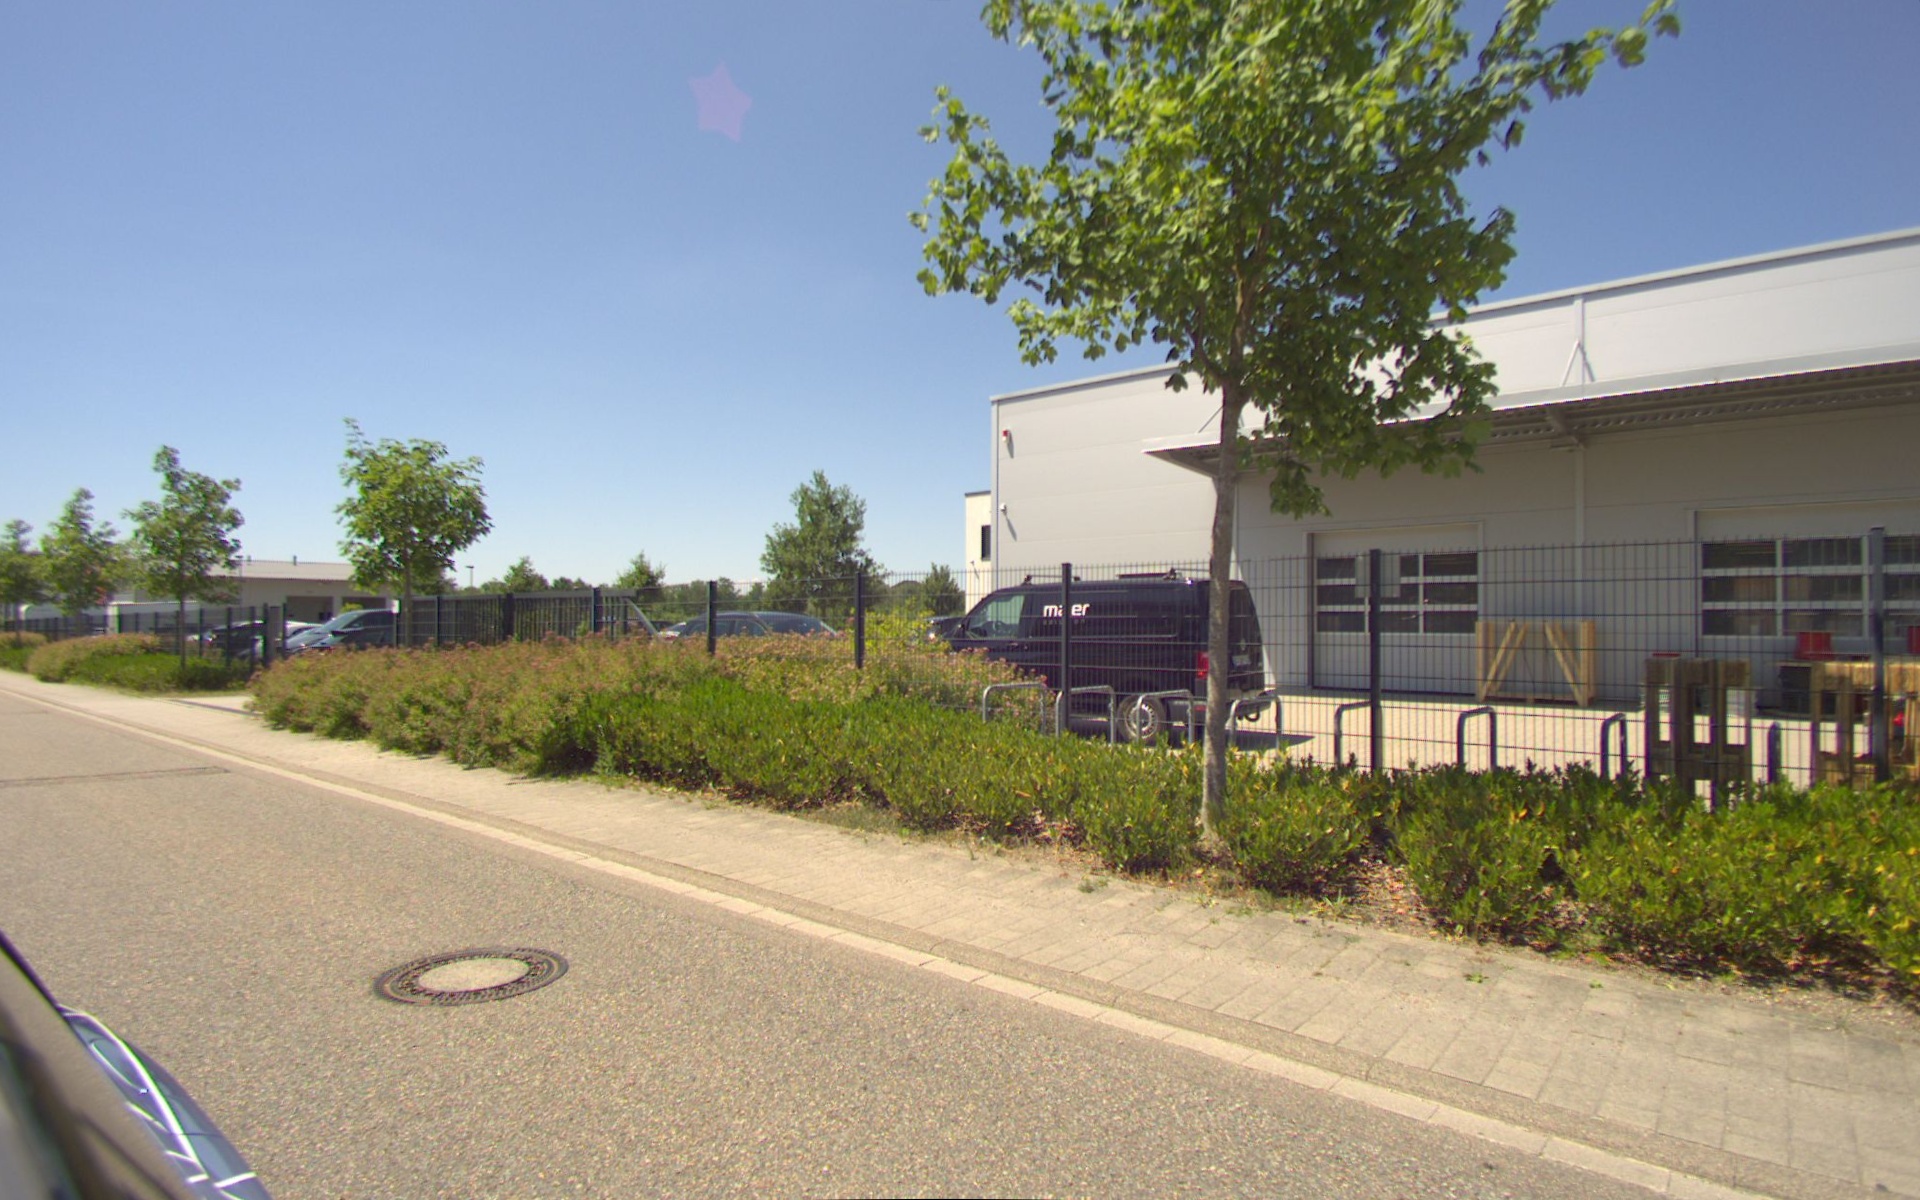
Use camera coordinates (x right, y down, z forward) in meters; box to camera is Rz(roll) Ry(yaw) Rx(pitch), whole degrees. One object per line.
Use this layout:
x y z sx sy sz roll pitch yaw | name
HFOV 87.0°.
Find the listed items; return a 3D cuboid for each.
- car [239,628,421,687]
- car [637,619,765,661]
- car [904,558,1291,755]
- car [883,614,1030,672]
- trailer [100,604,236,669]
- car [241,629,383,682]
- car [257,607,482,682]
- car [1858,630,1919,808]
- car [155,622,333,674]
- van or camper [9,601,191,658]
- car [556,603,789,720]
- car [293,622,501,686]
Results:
-18.364 1.623 29.634 1.903 1.510 4.151 -2 -1 40 | car
-9.041 1.362 35.586 1.879 1.361 4.065 -2 -1 40 | car
1.631 0.636 13.191 4.693 2.114 1.979 -1 0 42 | car
-0.045 1.158 28.556 1.999 1.508 4.048 -2 -2 40 | car
-31.386 1.408 40.211 1.724 2.378 3.950 -1 0 37 | trailer
-20.282 1.690 31.747 1.903 1.510 3.336 -2 -1 40 | car
-16.094 1.154 27.828 1.963 1.865 5.008 -2 -1 40 | car
8.892 0.861 6.979 3.999 1.290 1.777 -2 -2 42 | car
-24.538 1.603 34.808 1.999 1.641 4.683 -2 -2 41 | car
-43.327 1.487 51.175 2.574 2.704 6.705 -2 -2 41 | van or camper
-4.968 0.959 17.207 4.091 1.736 1.972 -1 -1 42 | car
-14.372 1.324 26.016 1.963 1.457 4.261 -2 -1 40 | car
